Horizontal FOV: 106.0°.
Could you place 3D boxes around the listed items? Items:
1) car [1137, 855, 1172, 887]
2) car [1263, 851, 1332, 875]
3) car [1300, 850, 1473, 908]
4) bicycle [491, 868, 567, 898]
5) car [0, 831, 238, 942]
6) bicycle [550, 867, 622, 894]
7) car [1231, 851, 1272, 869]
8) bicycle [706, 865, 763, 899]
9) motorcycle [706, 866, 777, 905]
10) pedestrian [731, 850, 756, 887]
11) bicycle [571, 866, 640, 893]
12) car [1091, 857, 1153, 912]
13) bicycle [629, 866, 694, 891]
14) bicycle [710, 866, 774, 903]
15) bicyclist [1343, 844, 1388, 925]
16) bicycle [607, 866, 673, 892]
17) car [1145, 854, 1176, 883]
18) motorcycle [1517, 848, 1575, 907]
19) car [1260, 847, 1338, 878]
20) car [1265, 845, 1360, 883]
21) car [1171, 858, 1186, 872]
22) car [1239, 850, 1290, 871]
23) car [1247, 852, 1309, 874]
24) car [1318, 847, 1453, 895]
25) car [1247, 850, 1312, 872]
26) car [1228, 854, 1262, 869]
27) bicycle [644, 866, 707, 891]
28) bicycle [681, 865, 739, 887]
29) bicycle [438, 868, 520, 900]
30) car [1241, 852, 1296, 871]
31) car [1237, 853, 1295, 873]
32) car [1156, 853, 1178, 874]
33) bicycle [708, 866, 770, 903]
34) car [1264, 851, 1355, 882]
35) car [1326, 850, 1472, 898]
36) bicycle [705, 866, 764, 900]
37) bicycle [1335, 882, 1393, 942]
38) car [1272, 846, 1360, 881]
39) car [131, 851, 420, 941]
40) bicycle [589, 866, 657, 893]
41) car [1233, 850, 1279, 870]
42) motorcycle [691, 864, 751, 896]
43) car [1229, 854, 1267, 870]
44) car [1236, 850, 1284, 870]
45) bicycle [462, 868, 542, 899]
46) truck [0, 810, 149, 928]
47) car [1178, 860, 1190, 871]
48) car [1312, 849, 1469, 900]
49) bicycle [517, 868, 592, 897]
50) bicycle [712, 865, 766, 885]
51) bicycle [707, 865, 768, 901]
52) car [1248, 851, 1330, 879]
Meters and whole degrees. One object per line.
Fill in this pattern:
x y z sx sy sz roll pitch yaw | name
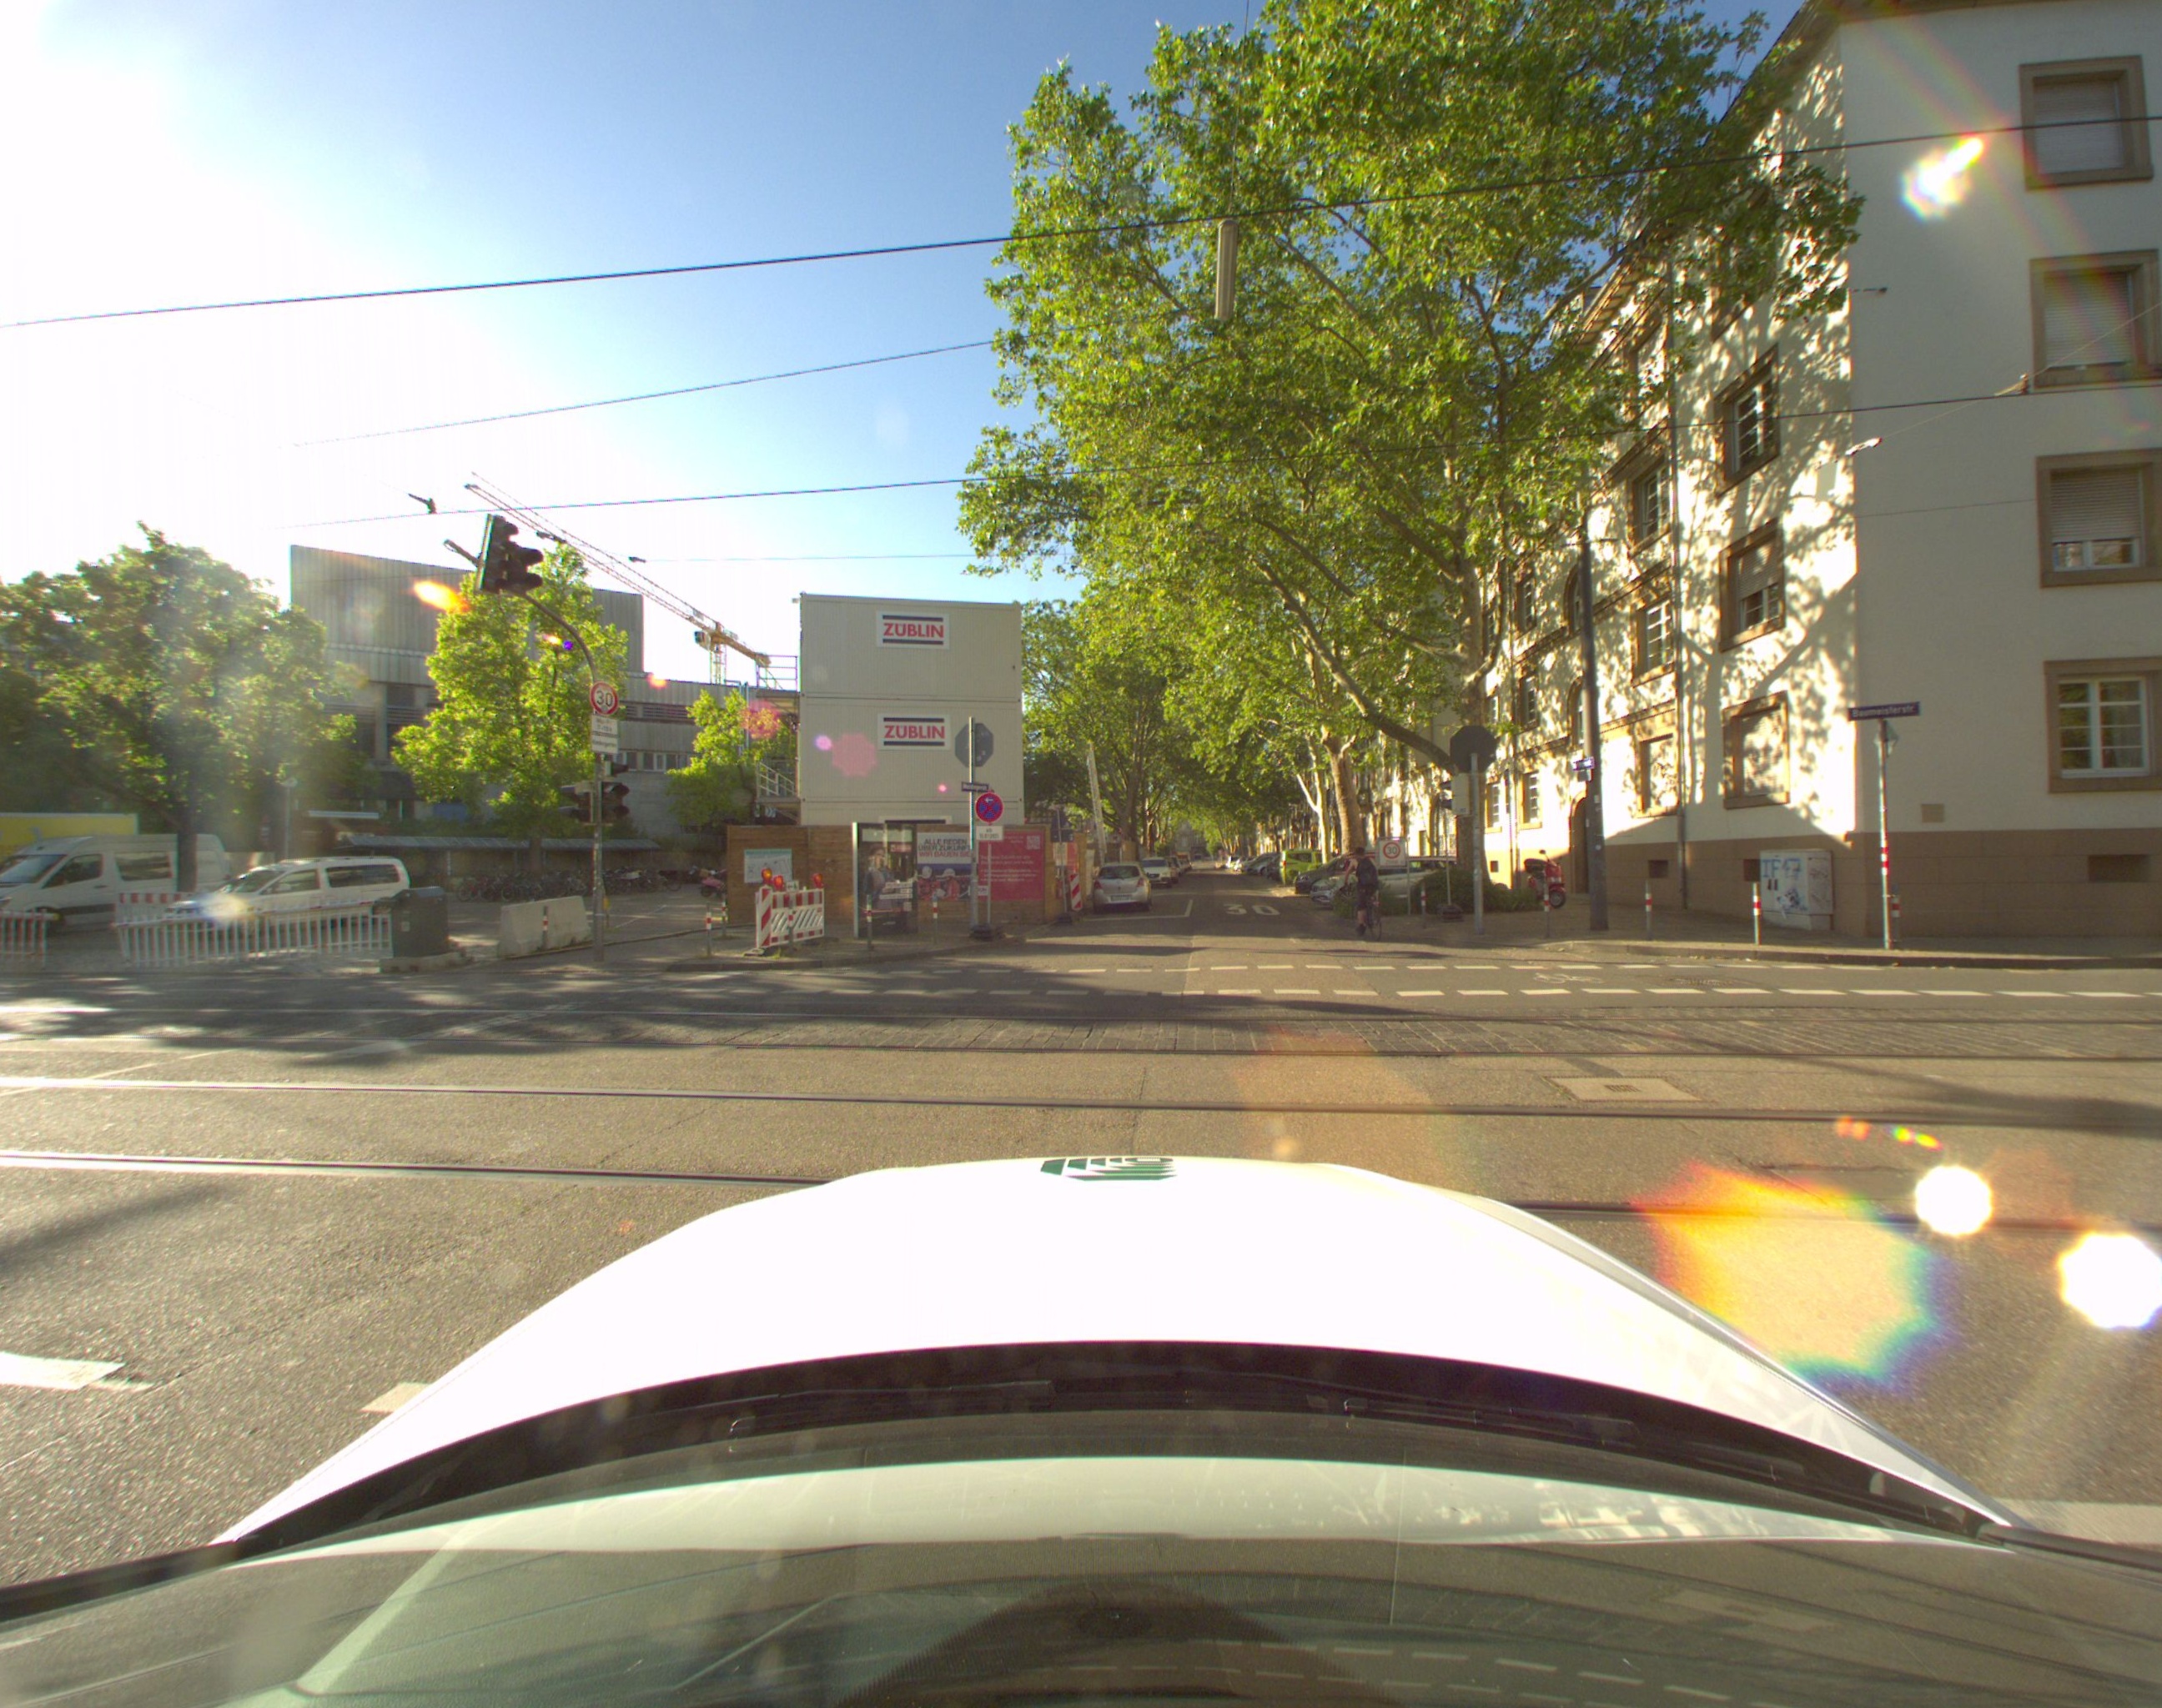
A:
3.812 0.827 41.716 1.656 1.562 4.007 -1 0 6 | car
14.977 0.608 56.622 4.438 1.571 1.732 -1 0 7 | car
8.792 0.717 23.747 4.438 1.571 1.732 -1 0 7 | car
-22.537 1.179 33.244 3.055 1.147 0.825 -1 0 17 | bicycle
-26.528 0.723 21.747 1.984 2.530 5.391 -1 3 5 | car
-21.763 1.152 35.783 3.055 1.147 0.825 -1 0 17 | bicycle
19.228 0.672 92.125 4.438 1.898 1.732 -1 0 7 | car
-13.891 1.107 32.658 2.056 1.257 0.538 -1 0 -30 | bicycle
-11.764 1.087 28.253 2.218 1.257 0.538 -1 0 -30 | motorcycle
-18.200 0.778 43.982 0.794 2.013 0.943 -1 0 18 | pedestrian
-21.476 1.167 36.784 3.055 1.147 0.825 -1 0 17 | bicycle
1.373 0.905 25.721 1.635 1.494 4.007 -3 -1 6 | car
-20.465 1.212 39.707 3.055 1.147 0.825 -1 0 17 | bicycle
-12.174 1.087 29.266 2.056 1.257 0.467 -1 0 -30 | bicycle
5.420 0.567 15.552 0.672 1.513 0.670 0 0 7 | bicyclist
-20.885 1.194 38.571 3.055 1.147 0.825 -1 0 17 | bicycle
4.640 0.823 47.199 1.656 1.562 4.527 -1 0 6 | car
10.953 0.534 19.255 0.511 1.332 1.766 -1 0 6 | motorcycle
13.453 0.519 50.430 4.438 1.836 1.731 -1 0 6 | car
11.753 0.517 41.526 4.438 1.836 1.731 -1 0 6 | car
11.327 1.291 94.689 1.656 1.562 4.227 -1 0 6 | car
17.232 0.574 76.632 4.438 1.898 1.732 -1 0 7 | car
15.066 0.685 62.352 4.438 1.571 1.732 -1 0 7 | car
11.265 0.621 30.406 4.438 1.671 1.732 -1 0 7 | car
14.579 0.514 59.916 4.438 1.571 1.732 -1 0 7 | car
22.391 1.040 111.524 4.438 1.898 1.732 -1 0 7 | car
-20.244 1.225 40.621 3.055 1.147 0.825 -1 0 17 | bicycle
-20.137 1.176 44.204 3.055 1.147 0.825 -1 0 17 | bicycle
-23.020 1.147 31.146 3.055 1.147 0.825 -1 0 17 | bicycle
15.917 0.644 69.405 4.438 1.571 1.732 -1 0 7 | car
15.209 0.731 67.154 4.438 1.571 1.732 -1 0 7 | car
6.768 0.736 63.787 1.656 1.562 4.624 -1 0 6 | car
-12.642 1.119 30.119 2.056 1.257 0.467 -1 0 -30 | bicycle
12.136 0.668 43.512 4.438 1.571 1.732 -1 0 7 | car
10.975 0.677 28.334 4.438 1.571 1.732 -1 0 7 | car
-13.660 1.115 32.113 2.056 1.257 0.538 -1 0 -30 | bicycle
5.448 1.081 15.780 0.686 1.016 1.911 1 0 8 | bicycle
13.058 0.509 45.459 4.438 1.836 1.731 -1 0 6 | car
-20.494 0.960 21.119 1.990 1.892 4.966 0 2 13 | car
-21.174 1.180 37.634 3.055 1.147 0.825 -1 0 17 | bicycle
17.672 0.601 82.275 4.438 1.898 1.732 -1 0 7 | car
-14.800 1.057 33.507 2.218 1.257 0.538 -1 0 -30 | motorcycle
20.346 0.947 99.486 4.438 1.898 1.732 -1 0 7 | car
17.452 0.580 79.402 4.438 1.898 1.732 -1 0 7 | car
-22.851 1.162 32.132 3.055 1.147 0.825 -1 0 17 | bicycle
-32.069 0.447 23.117 2.369 3.347 7.138 -1 1 8 | truck
15.705 1.716 124.039 1.656 1.562 4.227 -1 0 6 | car
9.807 0.638 26.096 4.438 1.500 1.732 -1 0 7 | car
-22.166 1.194 34.262 3.055 1.147 0.825 -1 0 17 | bicycle
-19.804 1.219 47.143 3.055 1.147 0.825 -1 0 17 | bicycle
-12.890 1.071 30.562 2.056 1.257 0.467 -1 0 -30 | bicycle
12.083 0.630 47.504 4.438 1.571 1.732 -1 0 7 | car
